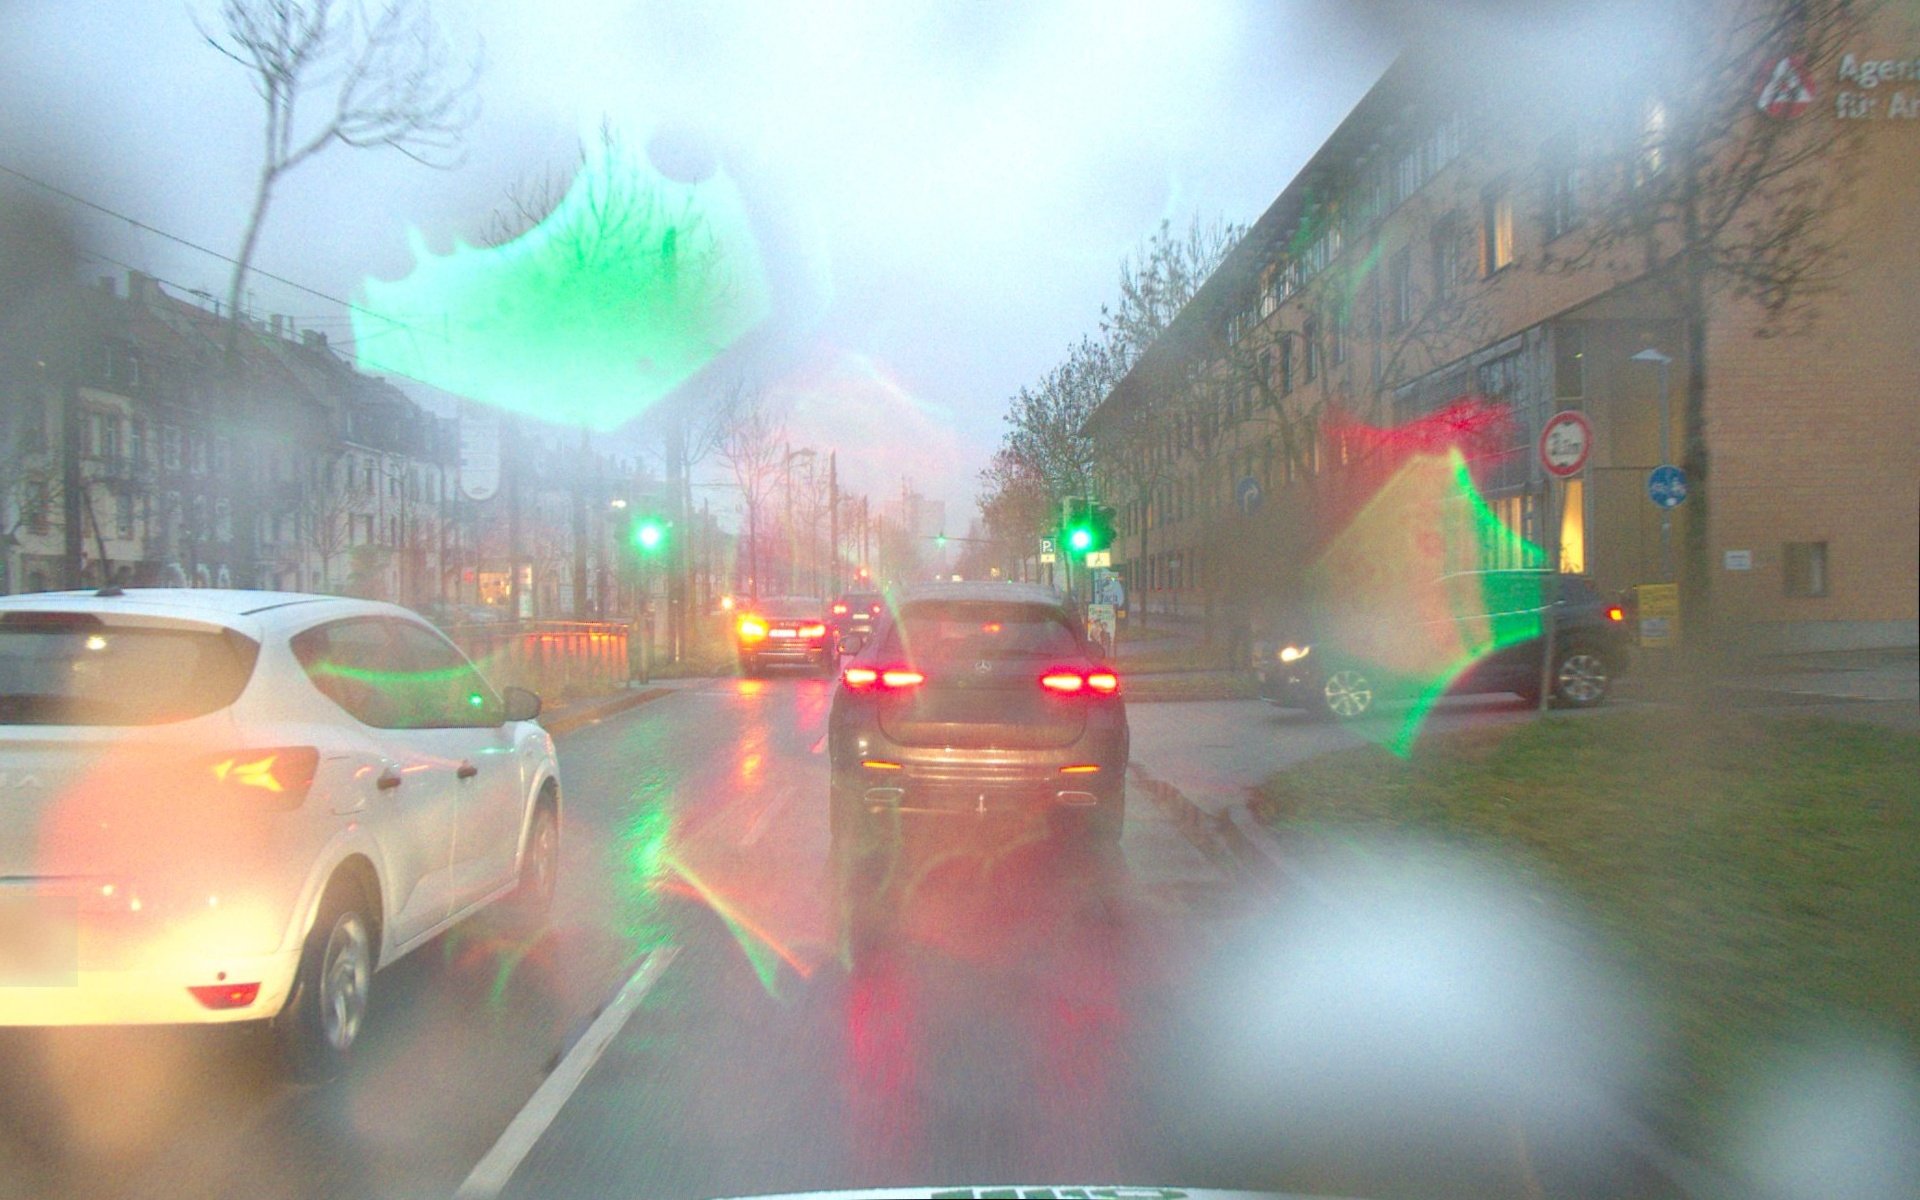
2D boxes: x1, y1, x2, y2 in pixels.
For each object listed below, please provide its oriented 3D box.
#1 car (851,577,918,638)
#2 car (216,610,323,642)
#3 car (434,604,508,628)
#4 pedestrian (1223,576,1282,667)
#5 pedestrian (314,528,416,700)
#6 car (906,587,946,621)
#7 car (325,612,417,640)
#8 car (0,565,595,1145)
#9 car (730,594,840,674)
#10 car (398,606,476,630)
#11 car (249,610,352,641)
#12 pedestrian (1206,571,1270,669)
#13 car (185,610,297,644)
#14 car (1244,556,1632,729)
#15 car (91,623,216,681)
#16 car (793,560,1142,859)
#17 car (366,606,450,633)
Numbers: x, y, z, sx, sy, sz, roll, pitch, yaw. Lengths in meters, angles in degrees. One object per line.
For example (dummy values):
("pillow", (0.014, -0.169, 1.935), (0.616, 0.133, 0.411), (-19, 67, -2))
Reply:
("car", (-2.344, 0.228, 52.324), (1.953, 1.796, 3.999), (-2, 0, -1))
("car", (-28.458, 1.061, 68.234), (3.694, 1.176, 1.650), (-2, 0, 4))
("car", (-27.962, 0.914, 94.657), (3.694, 1.176, 1.650), (-2, 0, 4))
("pedestrian", (5.315, 0.399, 30.110), (0.888, 1.624, 0.499), (-2, 0, 41))
("pedestrian", (-5.649, 0.127, 15.741), (0.684, 1.579, 0.668), (-2, 0, -1))
("car", (-1.721, 0.175, 84.198), (1.953, 1.646, 3.999), (-2, 0, -1))
("car", (-27.891, 1.239, 78.397), (3.694, 1.176, 1.650), (-2, 0, 4))
("car", (-2.595, 0.665, 6.381), (1.594, 1.513, 3.998), (-2, 1, -2))
("car", (-3.417, 0.630, 33.009), (1.954, 1.422, 3.997), (-2, 0, -3))
("car", (-28.858, 0.975, 91.259), (3.694, 1.176, 1.650), (-2, 0, 4))
("car", (-28.332, 1.086, 71.116), (3.694, 1.176, 1.650), (-2, 0, 4))
("pedestrian", (4.691, 0.336, 27.906), (0.888, 1.624, 0.499), (-2, 0, 41))
("car", (-28.479, 1.059, 65.556), (3.694, 1.176, 1.650), (-2, 0, 4))
("car", (5.267, 0.450, 18.585), (3.781, 1.587, 1.765), (-4, 0, 0))
("car", (-22.305, 1.417, 45.913), (1.620, 1.422, 3.766), (-2, 0, -1))
("car", (-0.011, 0.614, 11.457), (1.951, 1.644, 3.999), (-2, 0, -2))
("car", (-28.215, 0.988, 84.610), (3.694, 1.176, 1.650), (-2, 0, 4))
